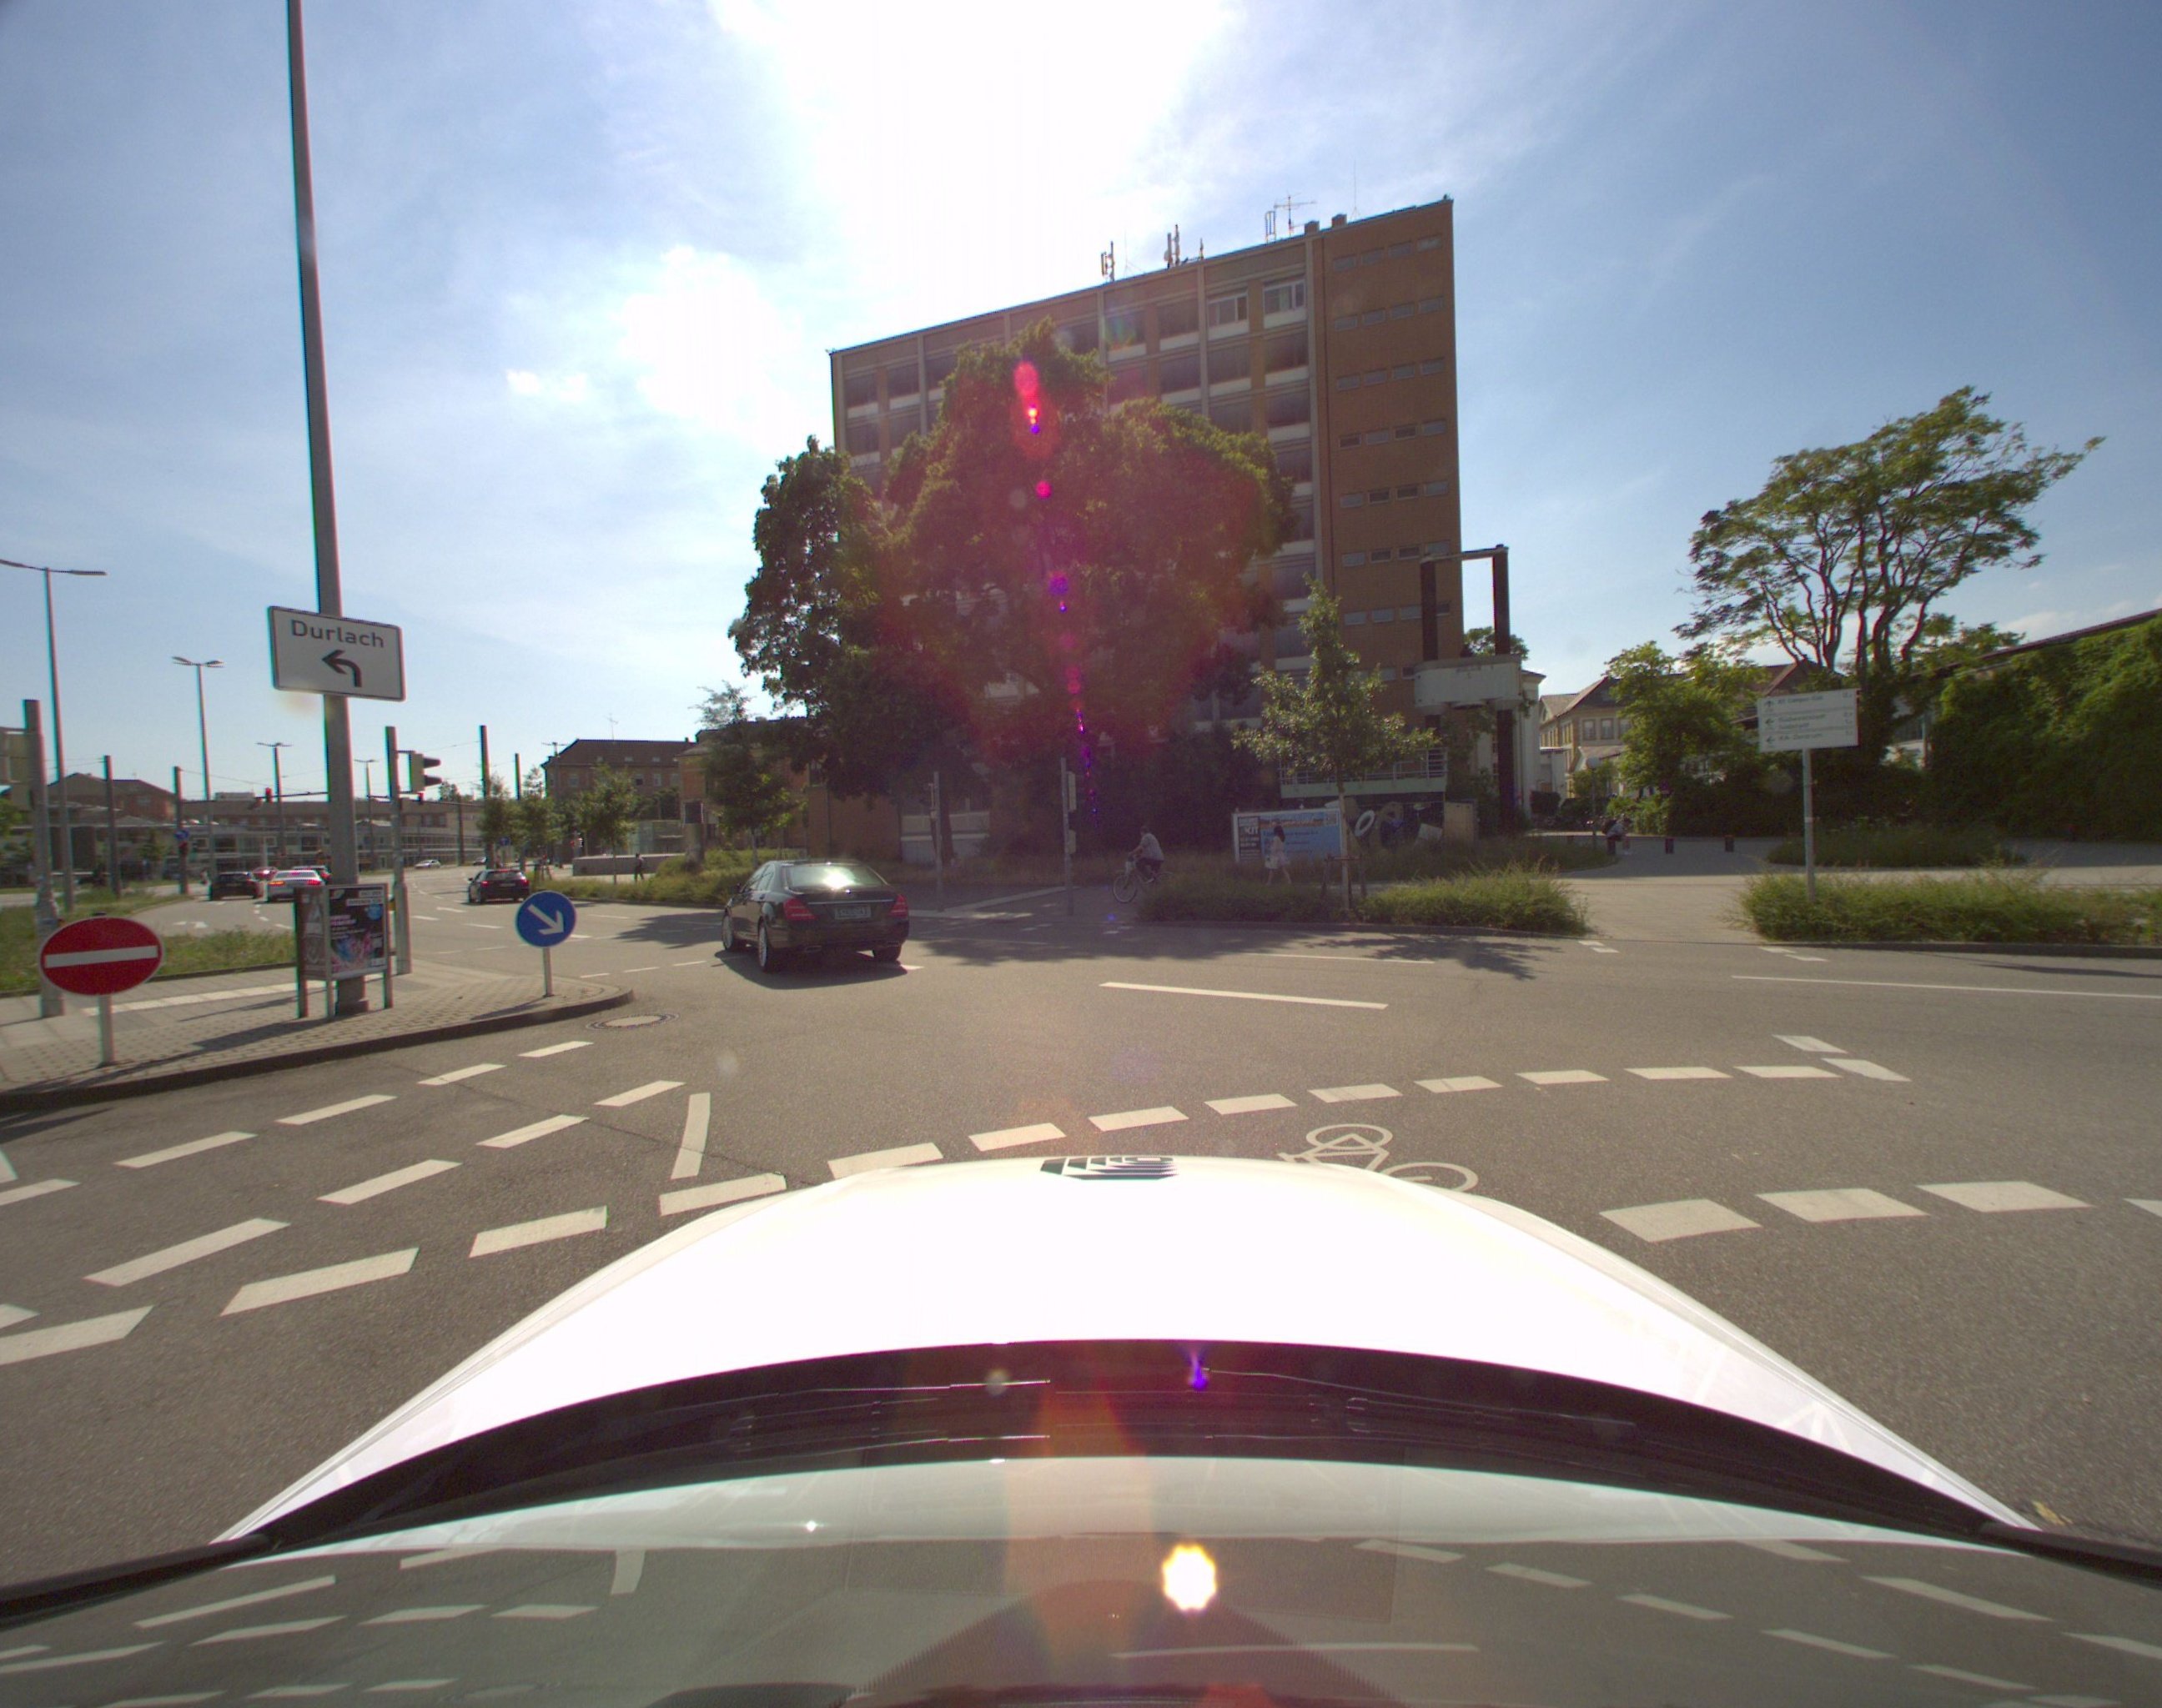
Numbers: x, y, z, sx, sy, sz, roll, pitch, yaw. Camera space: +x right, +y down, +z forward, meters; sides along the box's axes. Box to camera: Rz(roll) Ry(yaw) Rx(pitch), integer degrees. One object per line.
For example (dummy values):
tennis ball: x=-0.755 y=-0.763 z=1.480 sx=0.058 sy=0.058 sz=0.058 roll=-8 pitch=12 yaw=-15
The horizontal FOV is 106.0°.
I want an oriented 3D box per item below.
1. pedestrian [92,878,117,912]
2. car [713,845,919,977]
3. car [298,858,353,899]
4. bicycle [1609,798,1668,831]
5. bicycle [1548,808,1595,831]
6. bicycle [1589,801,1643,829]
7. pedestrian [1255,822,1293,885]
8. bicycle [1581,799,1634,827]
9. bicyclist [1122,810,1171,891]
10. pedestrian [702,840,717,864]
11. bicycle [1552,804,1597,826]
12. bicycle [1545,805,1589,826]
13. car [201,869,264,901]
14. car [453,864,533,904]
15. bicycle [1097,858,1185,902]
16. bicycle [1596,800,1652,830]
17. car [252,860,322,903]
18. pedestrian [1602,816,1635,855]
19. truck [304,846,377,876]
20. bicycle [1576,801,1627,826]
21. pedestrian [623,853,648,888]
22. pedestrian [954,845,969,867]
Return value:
pedestrian: x=-50.535 y=2.106 z=42.148 sx=0.653 sy=1.661 sz=0.656 roll=-3 pitch=1 yaw=-37
car: x=-4.221 y=0.731 z=12.388 sx=1.871 sy=1.530 sz=4.666 roll=-3 pitch=1 yaw=-32
car: x=-40.927 y=1.287 z=44.067 sx=2.012 sy=2.013 sz=3.950 roll=-3 pitch=1 yaw=-44
bicycle: x=33.946 y=-2.396 z=49.652 sx=2.800 sy=1.836 sz=0.846 roll=-2 pitch=2 yaw=18
bicycle: x=36.444 y=-2.586 z=60.541 sx=2.800 sy=1.558 sz=0.846 roll=-2 pitch=2 yaw=18
bicycle: x=34.824 y=-2.545 z=53.066 sx=2.800 sy=1.649 sz=0.846 roll=-2 pitch=2 yaw=18
pedestrian: x=4.940 y=-0.019 z=20.838 sx=0.804 sy=1.579 sz=0.696 roll=-2 pitch=1 yaw=21
bicycle: x=35.120 y=-2.738 z=54.342 sx=2.800 sy=1.659 sz=0.846 roll=-2 pitch=3 yaw=18
bicyclist: x=1.567 y=-0.086 z=19.470 sx=0.848 sy=1.878 sz=0.692 roll=-2 pitch=1 yaw=32
pedestrian: x=-26.985 y=-0.159 z=59.162 sx=0.642 sy=1.661 sz=0.654 roll=-2 pitch=1 yaw=27
bicycle: x=37.743 y=-2.957 z=62.264 sx=2.800 sy=1.499 sz=0.846 roll=-2 pitch=2 yaw=18
bicycle: x=38.160 y=-3.049 z=63.991 sx=2.800 sy=1.480 sz=0.846 roll=-2 pitch=2 yaw=18
car: x=-44.087 y=1.576 z=42.413 sx=1.810 sy=1.510 sz=3.953 roll=-3 pitch=1 yaw=-40
car: x=-24.420 y=1.221 z=33.770 sx=3.949 sy=1.510 sz=1.811 roll=-1 pitch=0 yaw=41
bicycle: x=1.423 y=0.626 z=19.545 sx=1.933 sy=0.946 sz=0.699 roll=-4 pitch=1 yaw=31
bicycle: x=34.595 y=-2.484 z=51.916 sx=2.800 sy=1.744 sz=0.846 roll=-2 pitch=2 yaw=18
car: x=-37.446 y=1.253 z=38.387 sx=3.949 sy=1.815 sz=2.013 roll=-1 pitch=1 yaw=42
pedestrian: x=17.265 y=-0.609 z=26.163 sx=0.786 sy=1.213 sz=0.762 roll=1 pitch=2 yaw=26
truck: x=-101.243 y=0.909 z=111.599 sx=3.059 sy=3.730 sz=7.916 roll=-2 pitch=1 yaw=-5
bicycle: x=35.380 y=-2.733 z=55.388 sx=2.800 sy=1.586 sz=0.846 roll=-2 pitch=2 yaw=18
pedestrian: x=-22.812 y=0.831 z=41.683 sx=0.790 sy=1.725 sz=0.879 roll=-1 pitch=1 yaw=42
pedestrian: x=-4.913 y=0.070 z=33.514 sx=0.424 sy=0.891 sz=0.396 roll=-2 pitch=1 yaw=28
